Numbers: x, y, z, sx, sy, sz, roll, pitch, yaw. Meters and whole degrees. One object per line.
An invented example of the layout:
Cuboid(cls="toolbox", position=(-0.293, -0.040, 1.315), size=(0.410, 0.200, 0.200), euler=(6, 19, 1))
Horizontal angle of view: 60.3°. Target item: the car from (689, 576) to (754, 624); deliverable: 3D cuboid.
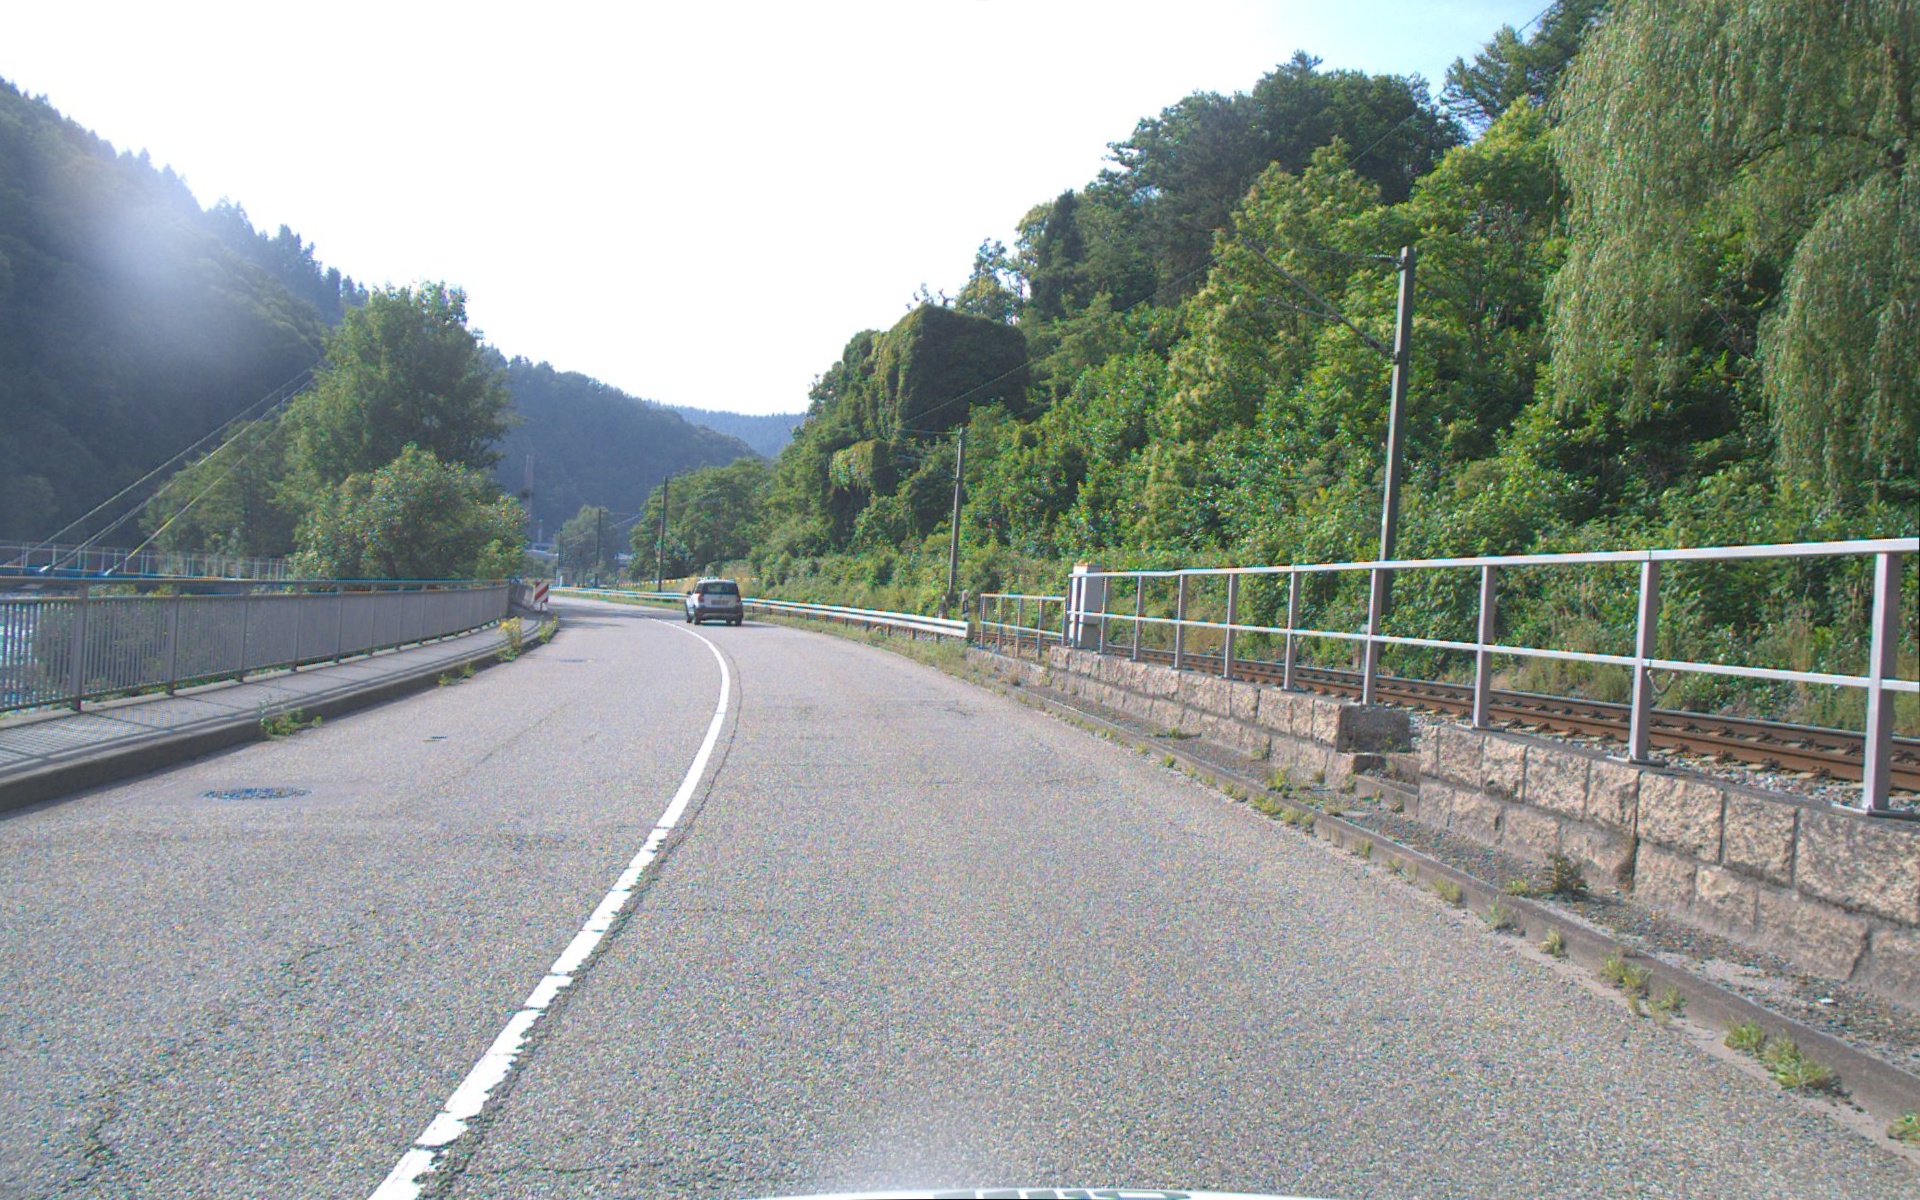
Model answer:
Cuboid(cls="car", position=(-8.875, -0.010, 61.290), size=(1.842, 1.685, 3.983), euler=(1, 0, -16))
